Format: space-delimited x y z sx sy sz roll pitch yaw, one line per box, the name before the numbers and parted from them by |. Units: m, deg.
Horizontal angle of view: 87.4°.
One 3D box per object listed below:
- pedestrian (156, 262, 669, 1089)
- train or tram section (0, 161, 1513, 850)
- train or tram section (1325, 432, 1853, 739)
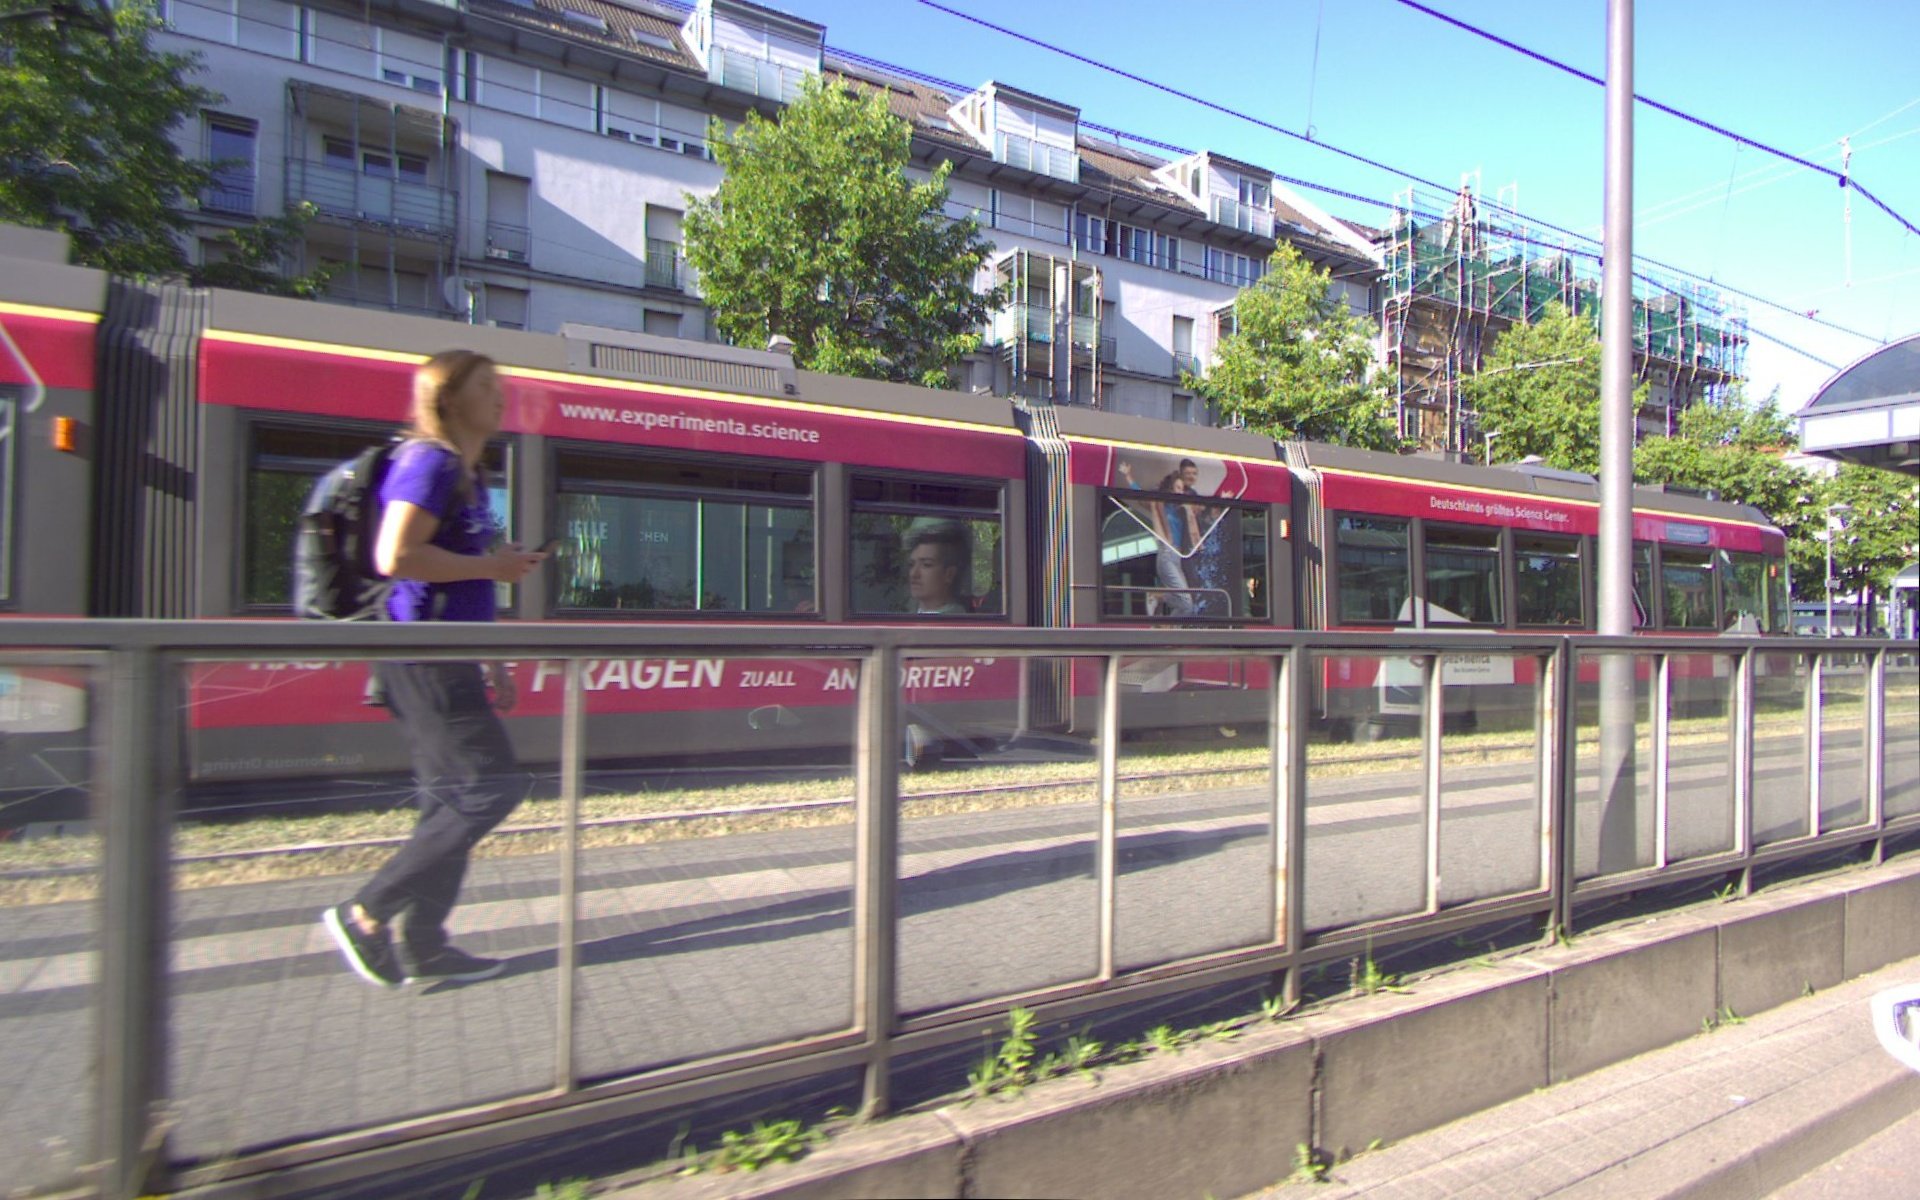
pedestrian | -1.313 0.158 2.503 0.971 1.631 0.626 1 1 -31
train or tram section | -0.242 -0.338 9.892 14.384 3.734 2.857 2 -1 -29
train or tram section | 10.213 -0.043 15.837 9.567 3.734 2.857 2 -1 -29
